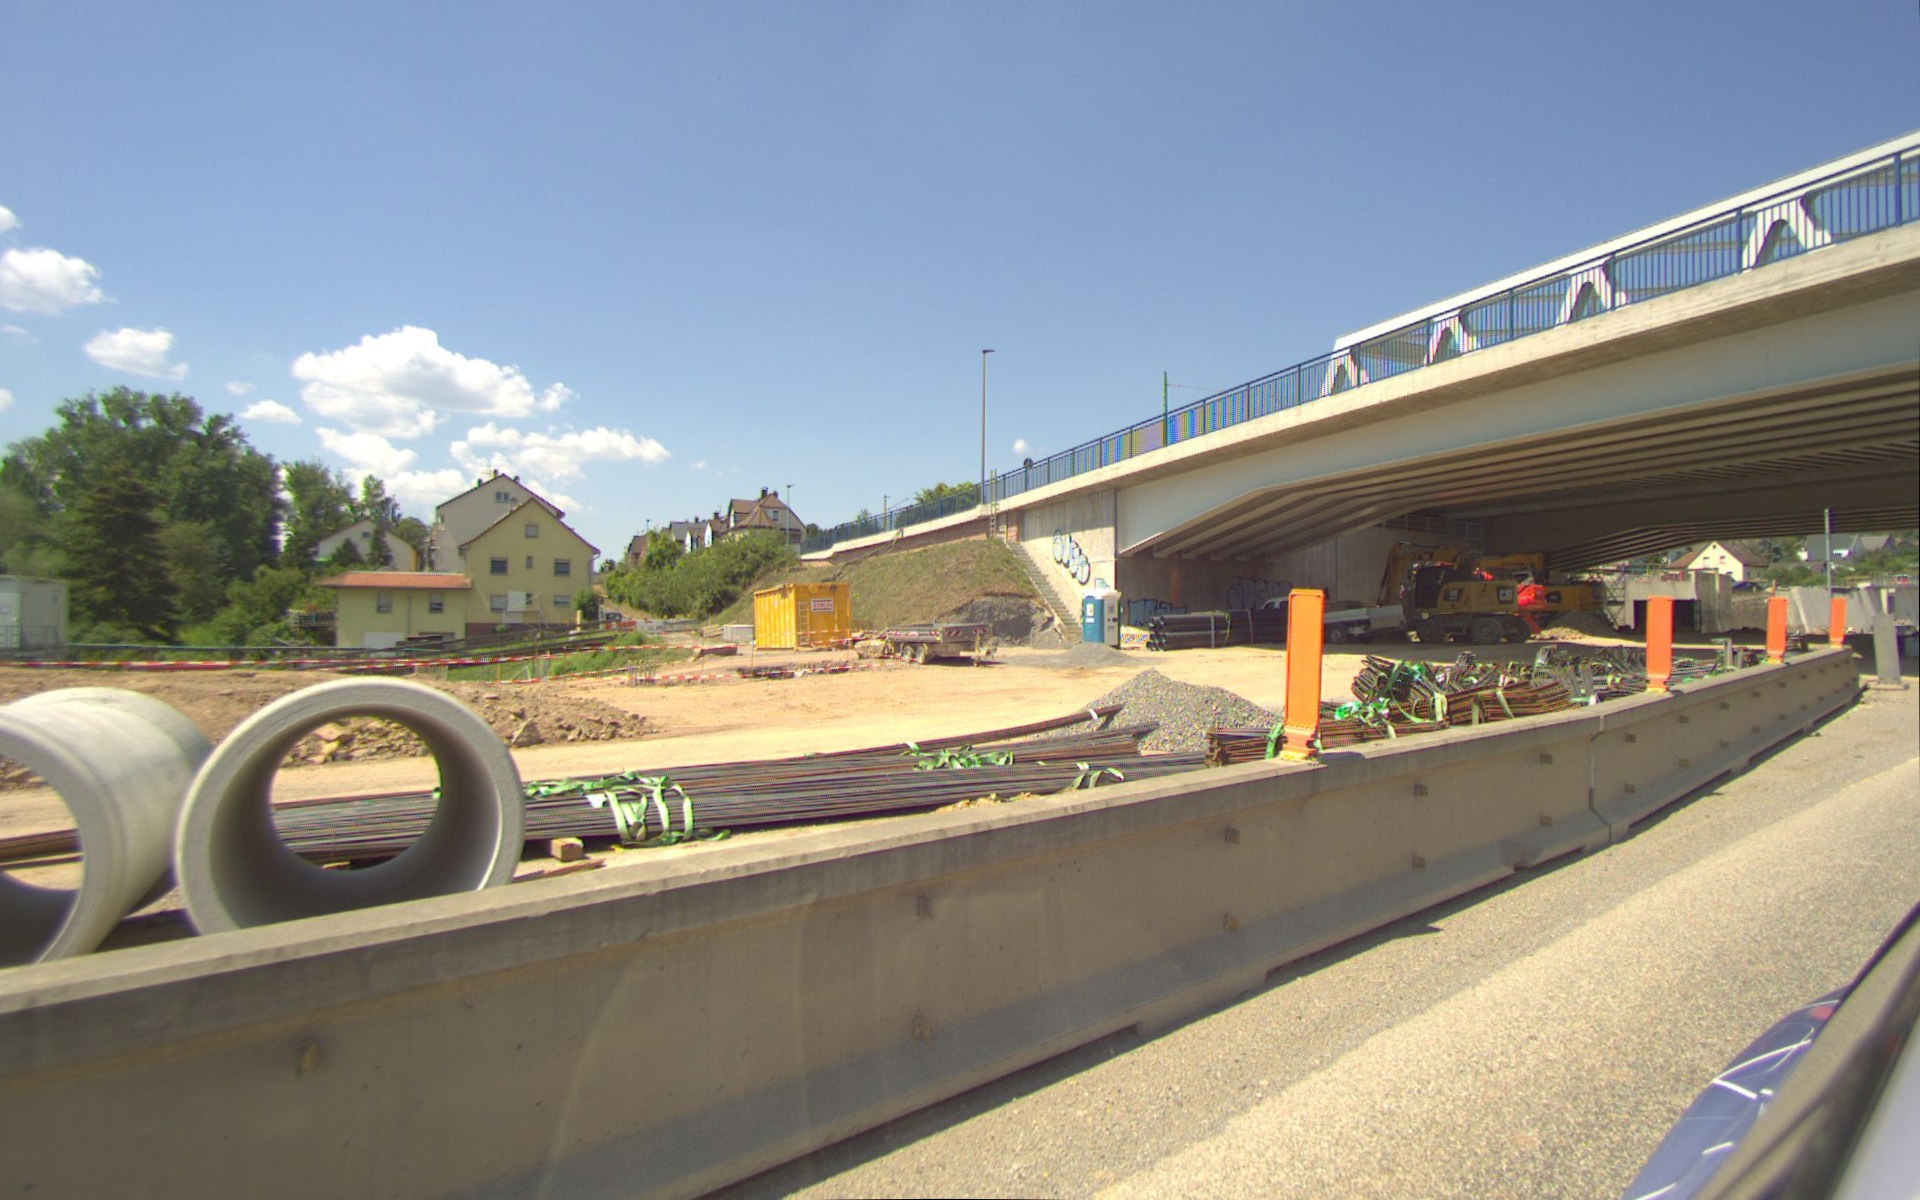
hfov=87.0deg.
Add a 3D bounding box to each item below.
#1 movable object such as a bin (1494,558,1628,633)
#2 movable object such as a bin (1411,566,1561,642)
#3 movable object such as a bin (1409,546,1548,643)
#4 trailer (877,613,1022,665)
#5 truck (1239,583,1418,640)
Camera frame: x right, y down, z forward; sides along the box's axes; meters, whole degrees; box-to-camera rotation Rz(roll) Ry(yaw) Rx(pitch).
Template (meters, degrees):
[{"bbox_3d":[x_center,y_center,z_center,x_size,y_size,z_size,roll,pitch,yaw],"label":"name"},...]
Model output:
[{"bbox_3d":[28.725,-0.196,48.529,2.931,3.328,4.572,-2,0,-30],"label":"movable object such as a bin"},{"bbox_3d":[22.944,0.193,44.364,2.447,3.095,5.260,-2,0,-30],"label":"movable object such as a bin"},{"bbox_3d":[20.669,-0.205,40.530,2.843,3.587,3.900,-2,0,-23],"label":"movable object such as a bin"},{"bbox_3d":[-0.411,1.093,30.012,2.017,1.234,4.730,-3,2,-34],"label":"trailer"},{"bbox_3d":[14.629,0.464,40.709,2.612,2.099,6.547,-1,0,-31],"label":"truck"}]
